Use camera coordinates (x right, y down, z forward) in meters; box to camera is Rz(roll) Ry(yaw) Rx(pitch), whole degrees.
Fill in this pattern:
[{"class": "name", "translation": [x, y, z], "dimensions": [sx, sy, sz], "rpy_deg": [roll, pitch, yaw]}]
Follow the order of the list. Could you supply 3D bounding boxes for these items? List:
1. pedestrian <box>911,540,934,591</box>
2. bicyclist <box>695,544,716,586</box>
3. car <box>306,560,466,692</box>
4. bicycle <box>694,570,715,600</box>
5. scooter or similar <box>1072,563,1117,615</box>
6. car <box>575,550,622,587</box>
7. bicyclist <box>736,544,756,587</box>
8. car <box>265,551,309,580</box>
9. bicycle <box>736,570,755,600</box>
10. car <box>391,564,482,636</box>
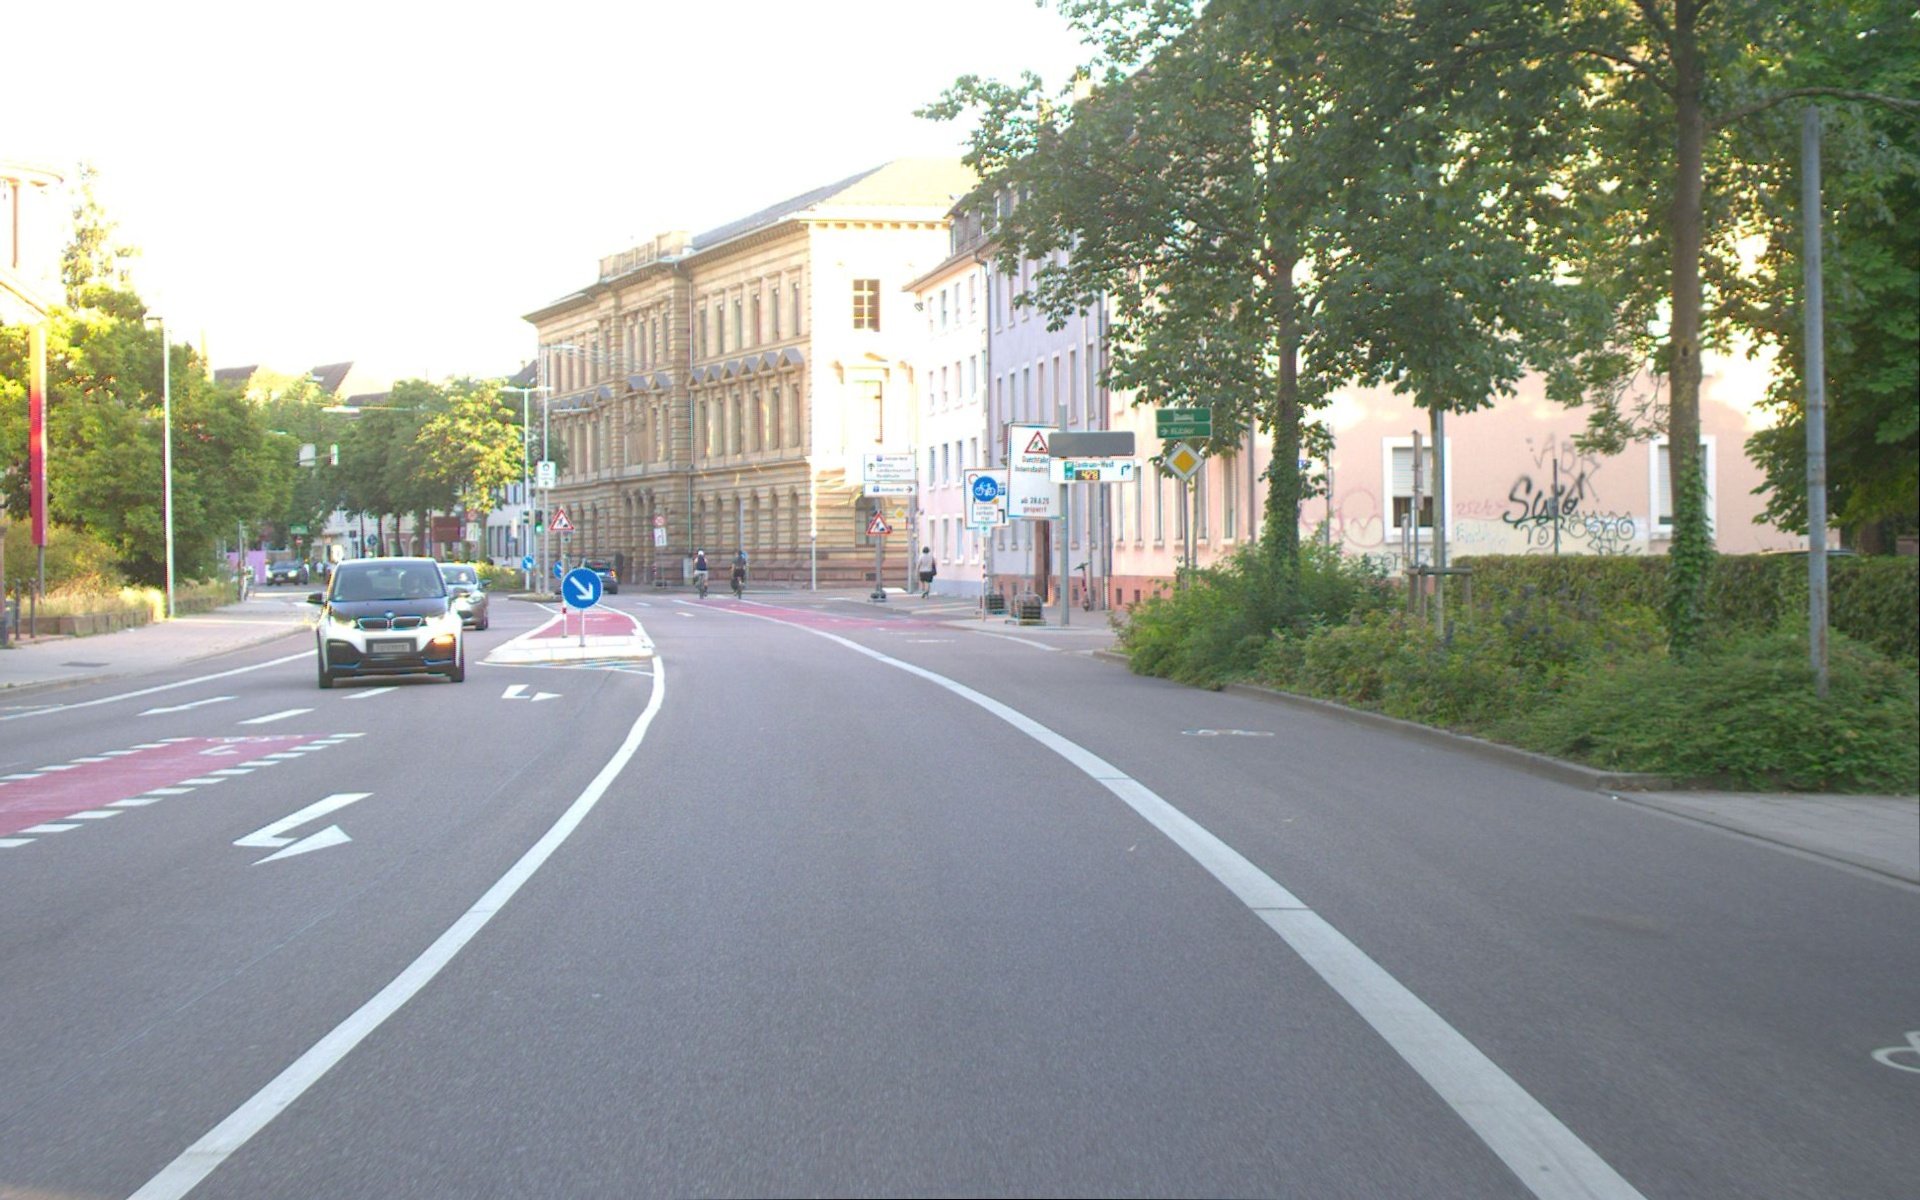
[{"class": "pedestrian", "translation": [-1.271, -1.182, 117.596], "dimensions": [0.762, 1.749, 0.845], "rpy_deg": [0, 0, 1]}, {"class": "bicyclist", "translation": [-8.974, -1.240, 121.336], "dimensions": [0.652, 1.441, 0.879], "rpy_deg": [2, 1, -3]}, {"class": "car", "translation": [-7.209, 0.290, 43.394], "dimensions": [1.848, 1.521, 4.001], "rpy_deg": [-2, 1, -9]}, {"class": "bicycle", "translation": [-9.004, -0.549, 121.360], "dimensions": [0.652, 1.012, 2.198], "rpy_deg": [2, 1, -3]}, {"class": "scooter or similar", "translation": [3.448, -0.289, 88.366], "dimensions": [0.629, 1.332, 2.401], "rpy_deg": [0, 1, -10]}, {"class": "car", "translation": [-15.207, -1.329, 144.313], "dimensions": [1.867, 1.505, 4.001], "rpy_deg": [1, 0, -7]}, {"class": "bicyclist", "translation": [-7.554, -1.212, 121.262], "dimensions": [0.652, 1.470, 0.941], "rpy_deg": [2, 1, -4]}, {"class": "car", "translation": [-37.563, -1.936, 191.900], "dimensions": [1.993, 1.579, 4.001], "rpy_deg": [0, 1, -5]}, {"class": "bicycle", "translation": [-7.571, -0.543, 121.265], "dimensions": [0.652, 1.012, 2.198], "rpy_deg": [2, 1, -4]}, {"class": "car", "translation": [-11.277, -0.026, 73.935], "dimensions": [1.835, 1.434, 4.001], "rpy_deg": [-2, 1, -9]}]
